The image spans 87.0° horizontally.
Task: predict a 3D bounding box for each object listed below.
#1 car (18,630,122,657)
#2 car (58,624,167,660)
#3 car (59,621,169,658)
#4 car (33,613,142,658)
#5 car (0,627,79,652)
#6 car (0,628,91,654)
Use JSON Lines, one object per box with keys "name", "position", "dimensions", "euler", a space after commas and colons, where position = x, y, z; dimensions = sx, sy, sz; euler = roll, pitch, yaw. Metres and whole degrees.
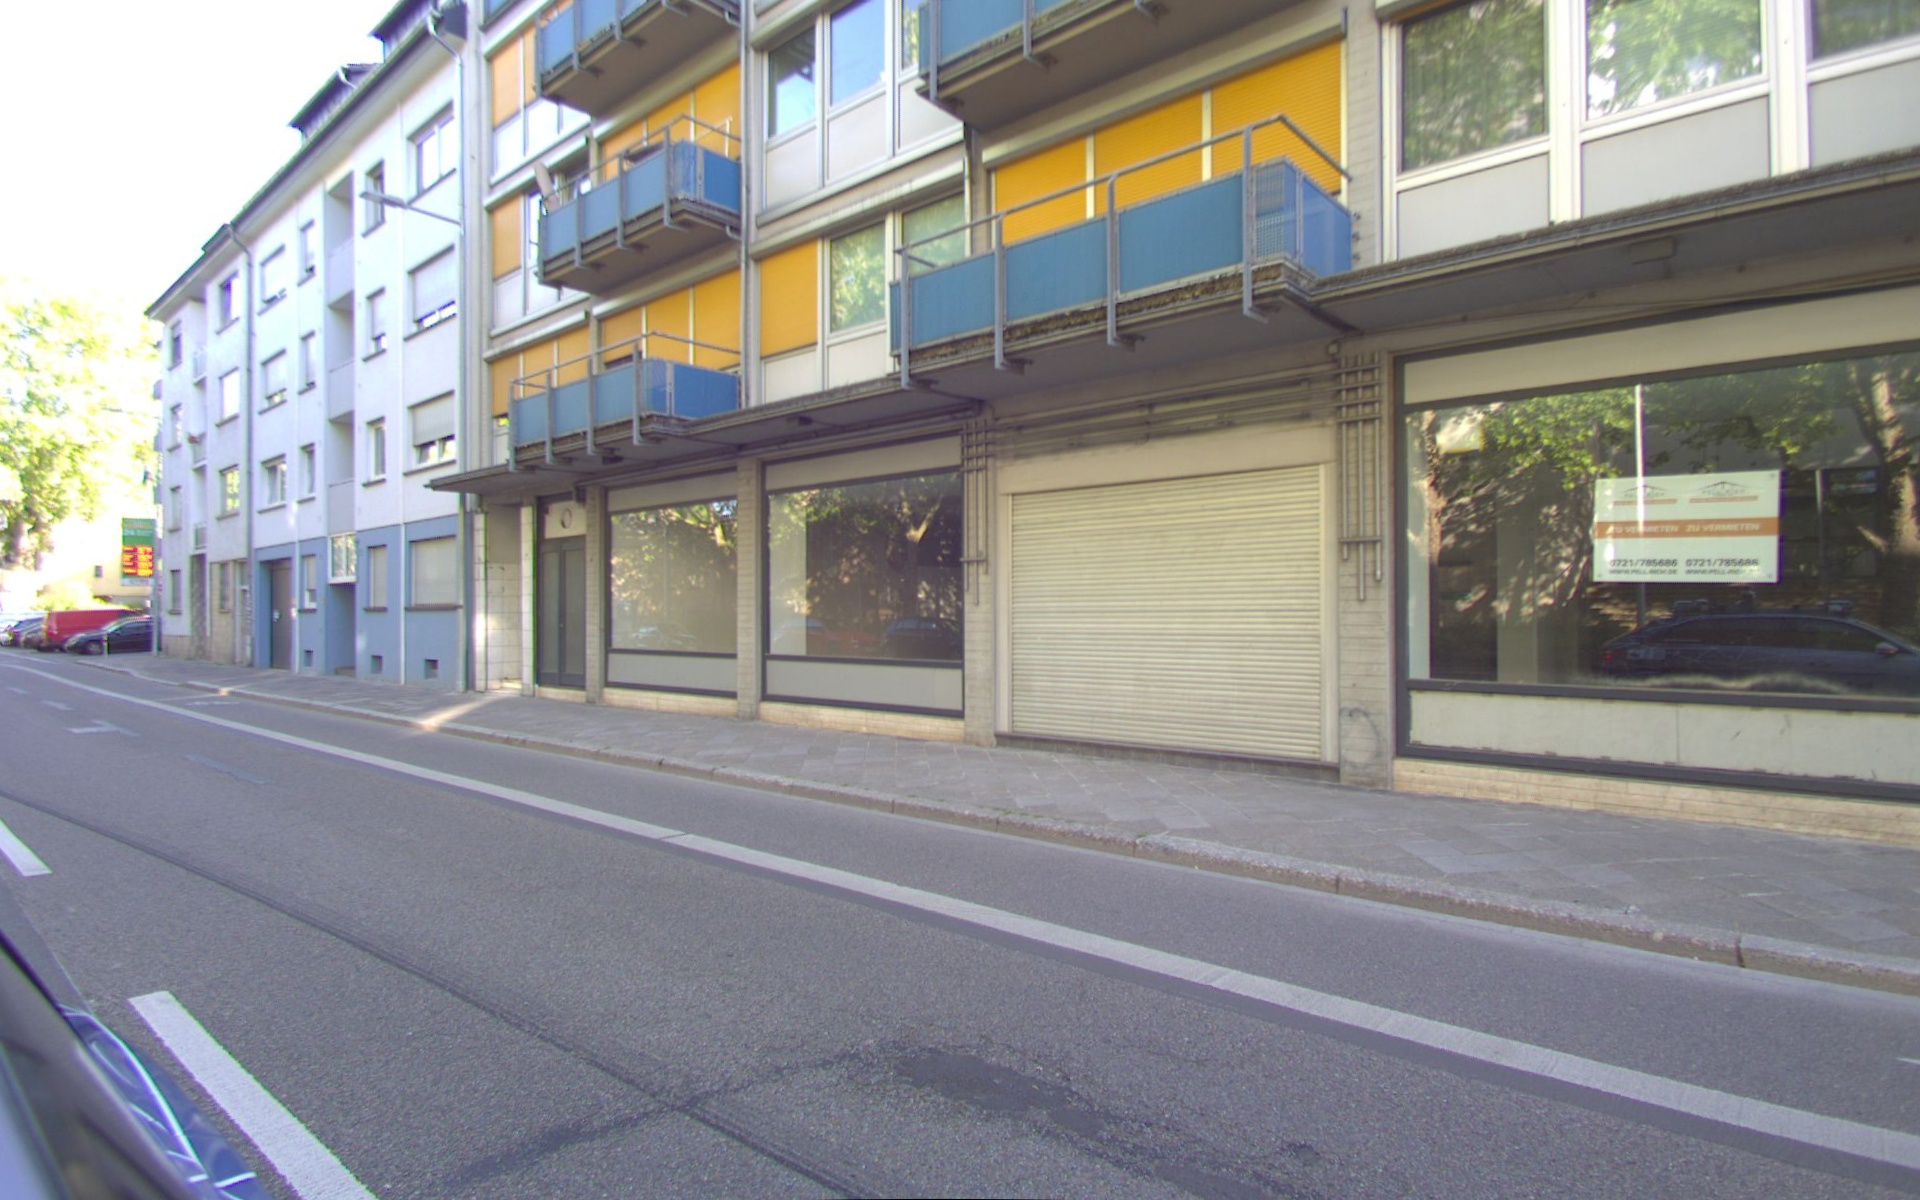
{"name": "car", "position": [-42.815, 2.057, 48.747], "dimensions": [1.345, 1.137, 3.638], "euler": [-1, 0, 43]}
{"name": "car", "position": [-36.677, 1.795, 43.852], "dimensions": [1.490, 1.398, 3.462], "euler": [-1, 0, 43]}
{"name": "car", "position": [-38.194, 1.752, 45.732], "dimensions": [1.490, 1.523, 3.638], "euler": [-1, 0, 43]}
{"name": "car", "position": [-40.653, 1.631, 47.232], "dimensions": [1.488, 1.923, 3.642], "euler": [-4, -2, 39]}
{"name": "car", "position": [-52.260, 2.231, 57.514], "dimensions": [1.345, 1.254, 3.228], "euler": [-1, 0, 43]}
{"name": "car", "position": [-50.447, 2.224, 55.885], "dimensions": [1.345, 1.254, 3.638], "euler": [-1, 0, 43]}
